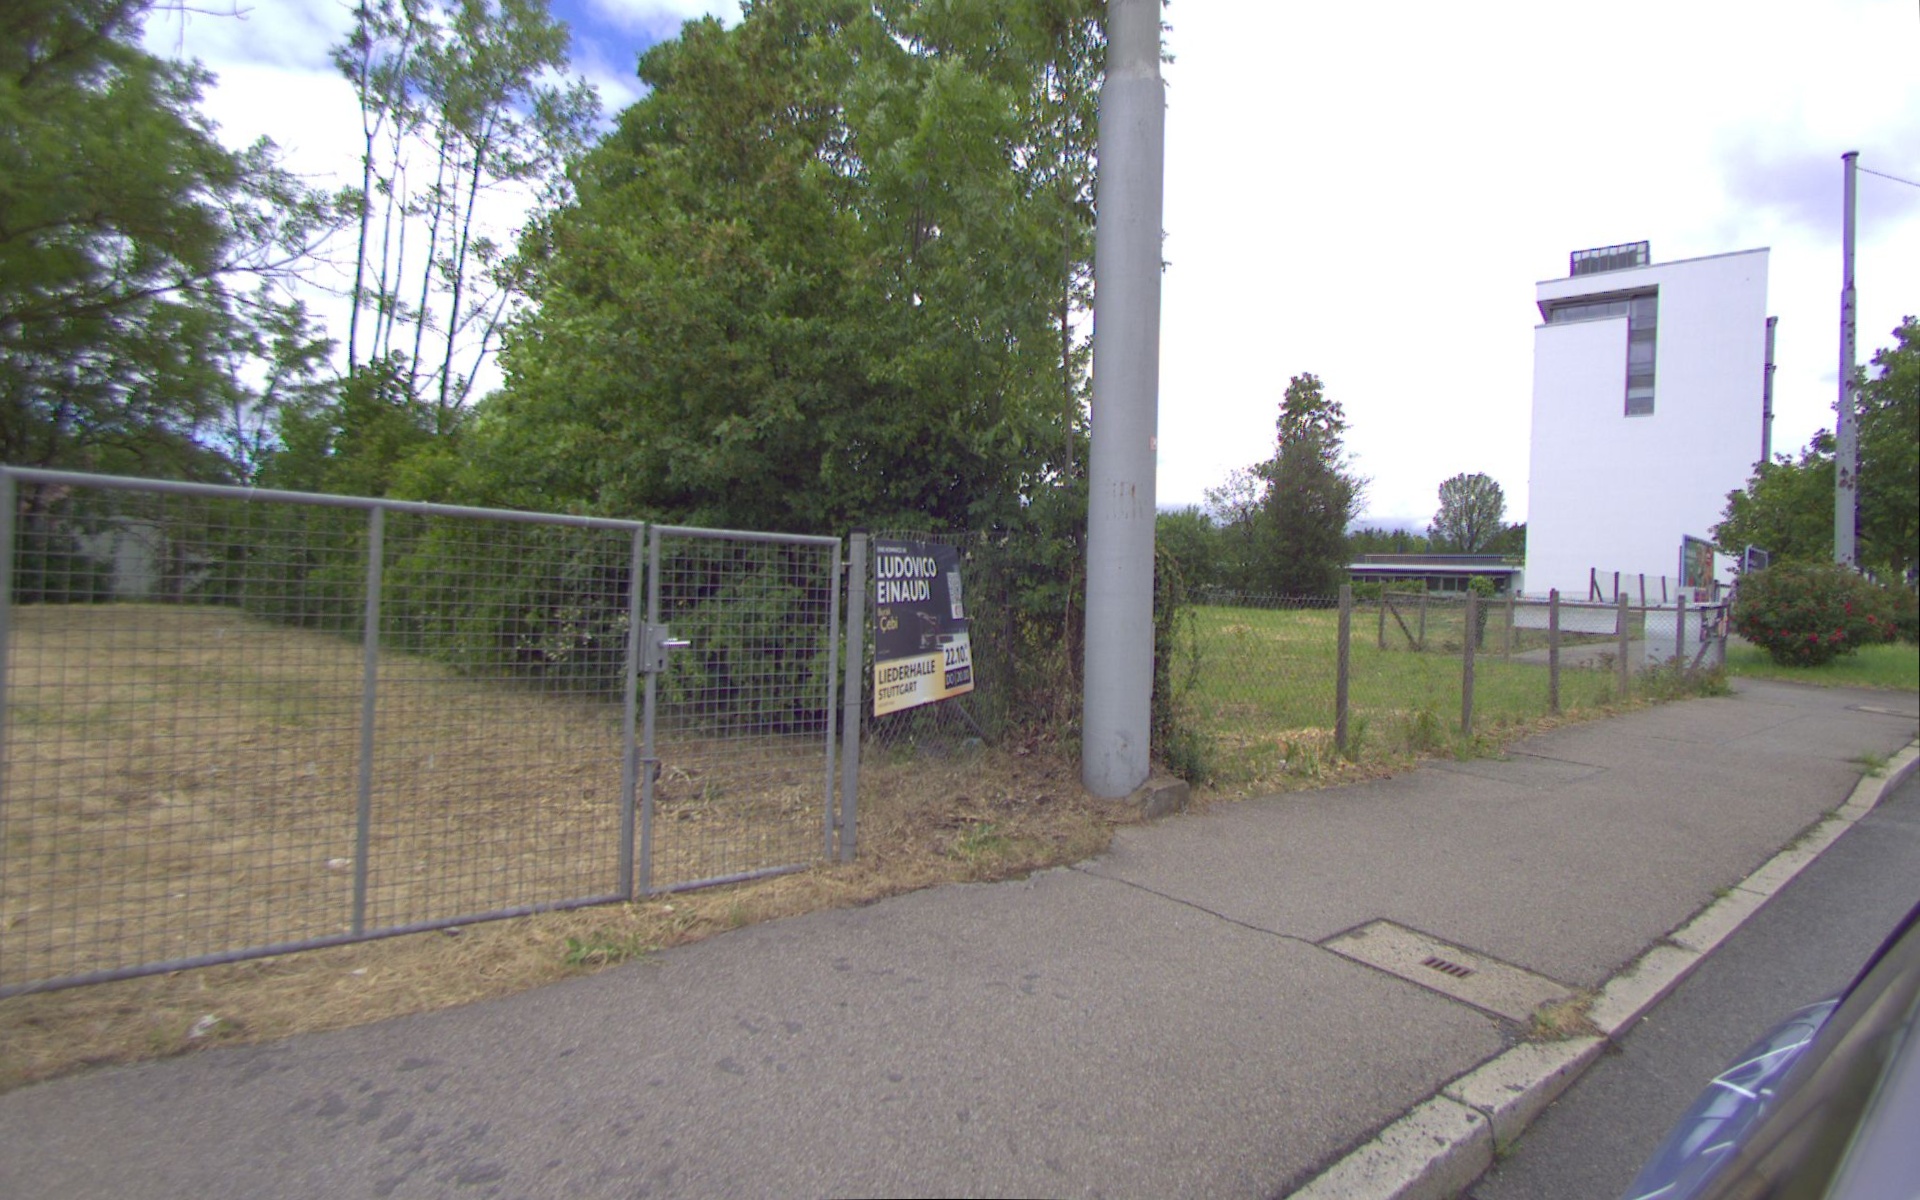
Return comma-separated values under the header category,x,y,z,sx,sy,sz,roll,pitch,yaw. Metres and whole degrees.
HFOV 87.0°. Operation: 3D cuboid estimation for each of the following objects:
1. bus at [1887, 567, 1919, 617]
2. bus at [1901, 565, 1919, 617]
category,x,y,z,sx,sy,sz,roll,pitch,yaw
bus,67.228,-0.409,70.630,2.710,3.144,8.746,9,5,38
bus,61.759,-0.444,63.627,2.709,3.201,9.001,7,4,38
